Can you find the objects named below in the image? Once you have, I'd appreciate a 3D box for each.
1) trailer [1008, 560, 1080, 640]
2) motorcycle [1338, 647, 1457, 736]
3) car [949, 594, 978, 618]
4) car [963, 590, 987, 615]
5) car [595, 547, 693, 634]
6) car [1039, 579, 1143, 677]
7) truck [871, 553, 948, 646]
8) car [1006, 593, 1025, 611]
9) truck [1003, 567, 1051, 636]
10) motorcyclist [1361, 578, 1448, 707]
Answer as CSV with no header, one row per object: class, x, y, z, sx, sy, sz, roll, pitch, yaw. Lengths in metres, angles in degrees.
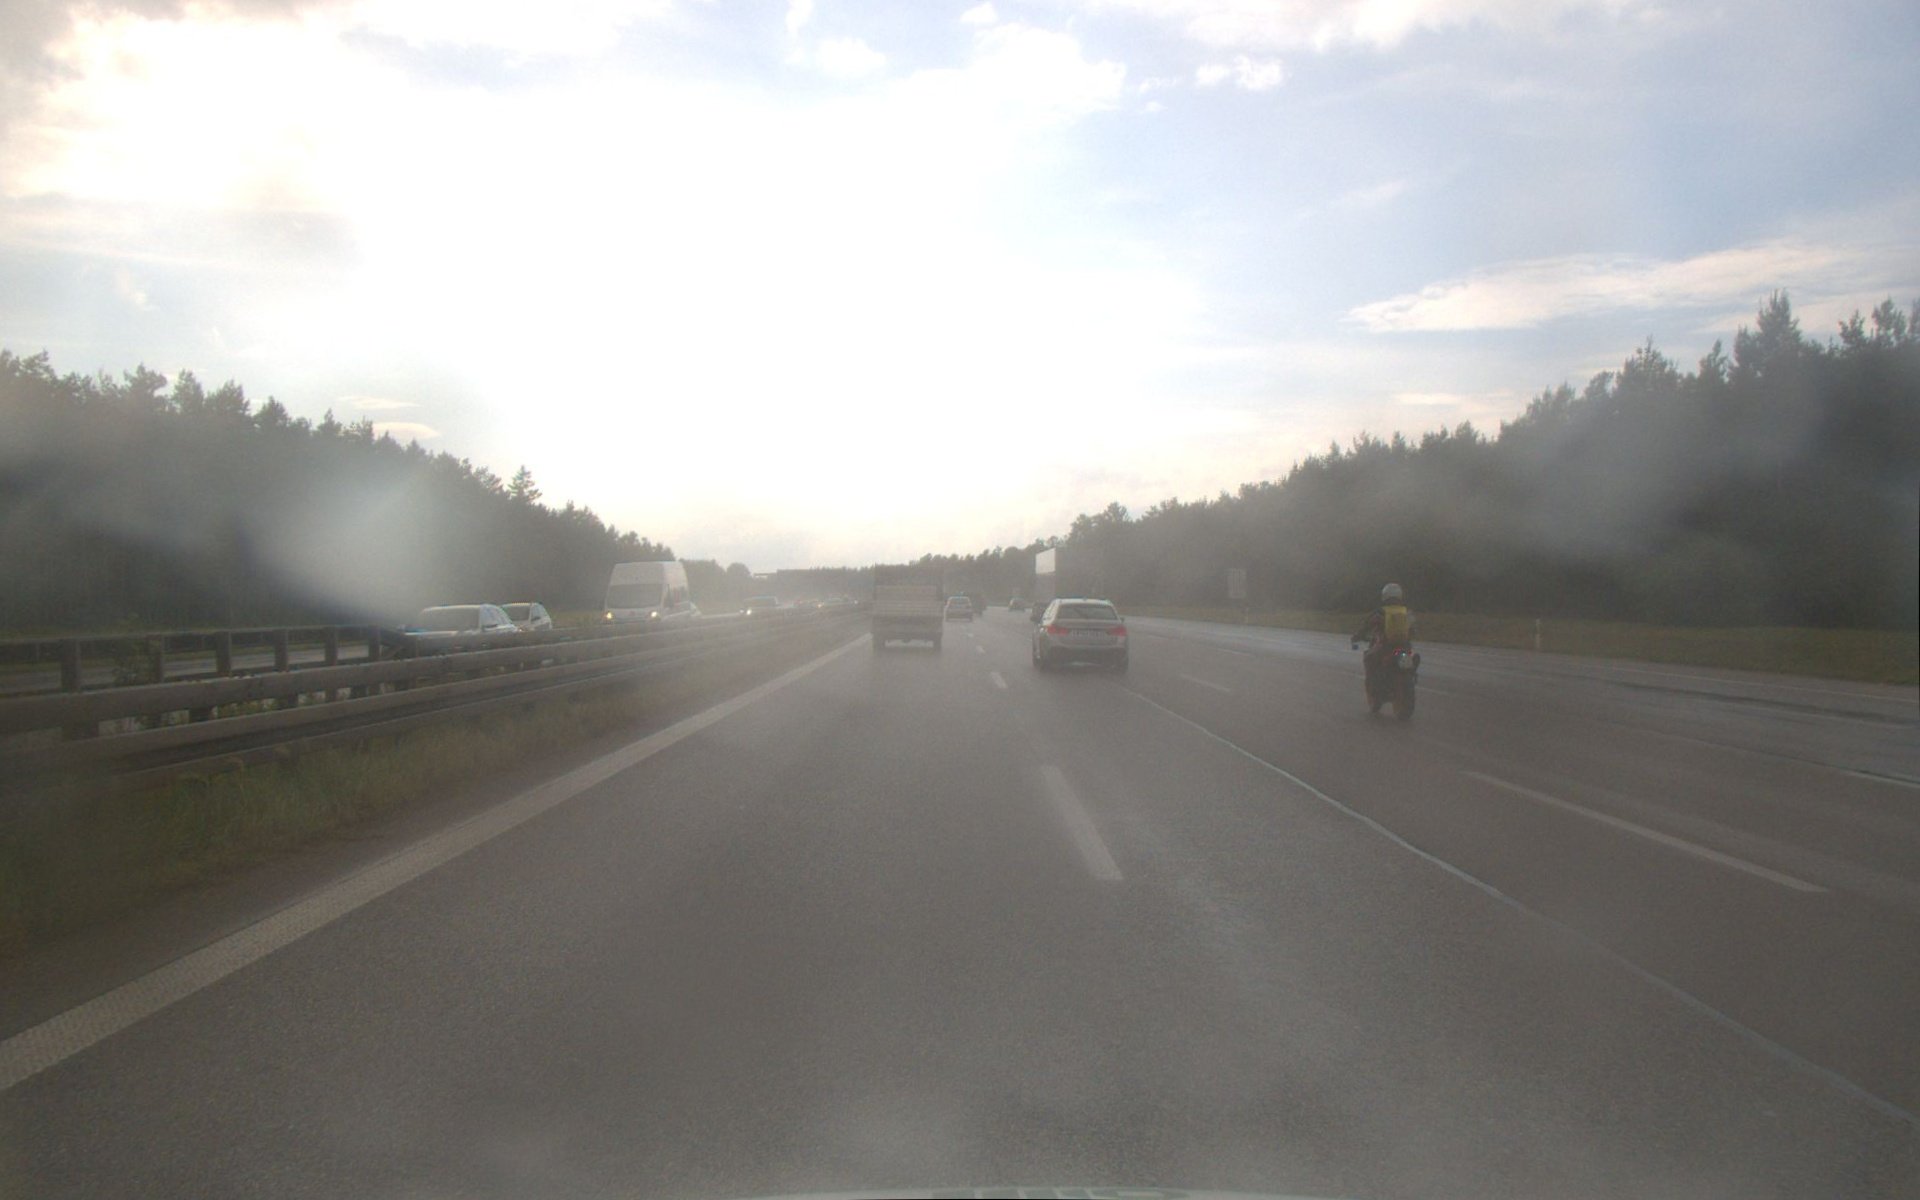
trailer,4.471,0.010,90.803,2.278,4.071,13.399,0,0,-4
motorcycle,5.719,1.171,21.764,0.979,1.049,2.174,0,0,0
car,0.227,0.383,104.721,1.793,1.492,4.000,1,0,0
car,1.203,0.169,138.058,1.869,2.049,3.999,0,0,-1
car,-10.440,-0.300,55.155,2.089,2.708,6.672,-1,0,-1
car,2.747,0.557,35.588,2.034,1.918,5.013,1,0,3
truck,-1.461,-0.020,47.649,2.094,2.532,5.310,0,0,-2
car,6.373,0.223,190.774,1.953,2.049,3.999,1,0,-1
truck,3.935,0.084,97.744,2.249,3.935,5.387,0,0,-4
motorcyclist,5.787,0.548,21.596,0.873,1.643,0.959,0,0,0
